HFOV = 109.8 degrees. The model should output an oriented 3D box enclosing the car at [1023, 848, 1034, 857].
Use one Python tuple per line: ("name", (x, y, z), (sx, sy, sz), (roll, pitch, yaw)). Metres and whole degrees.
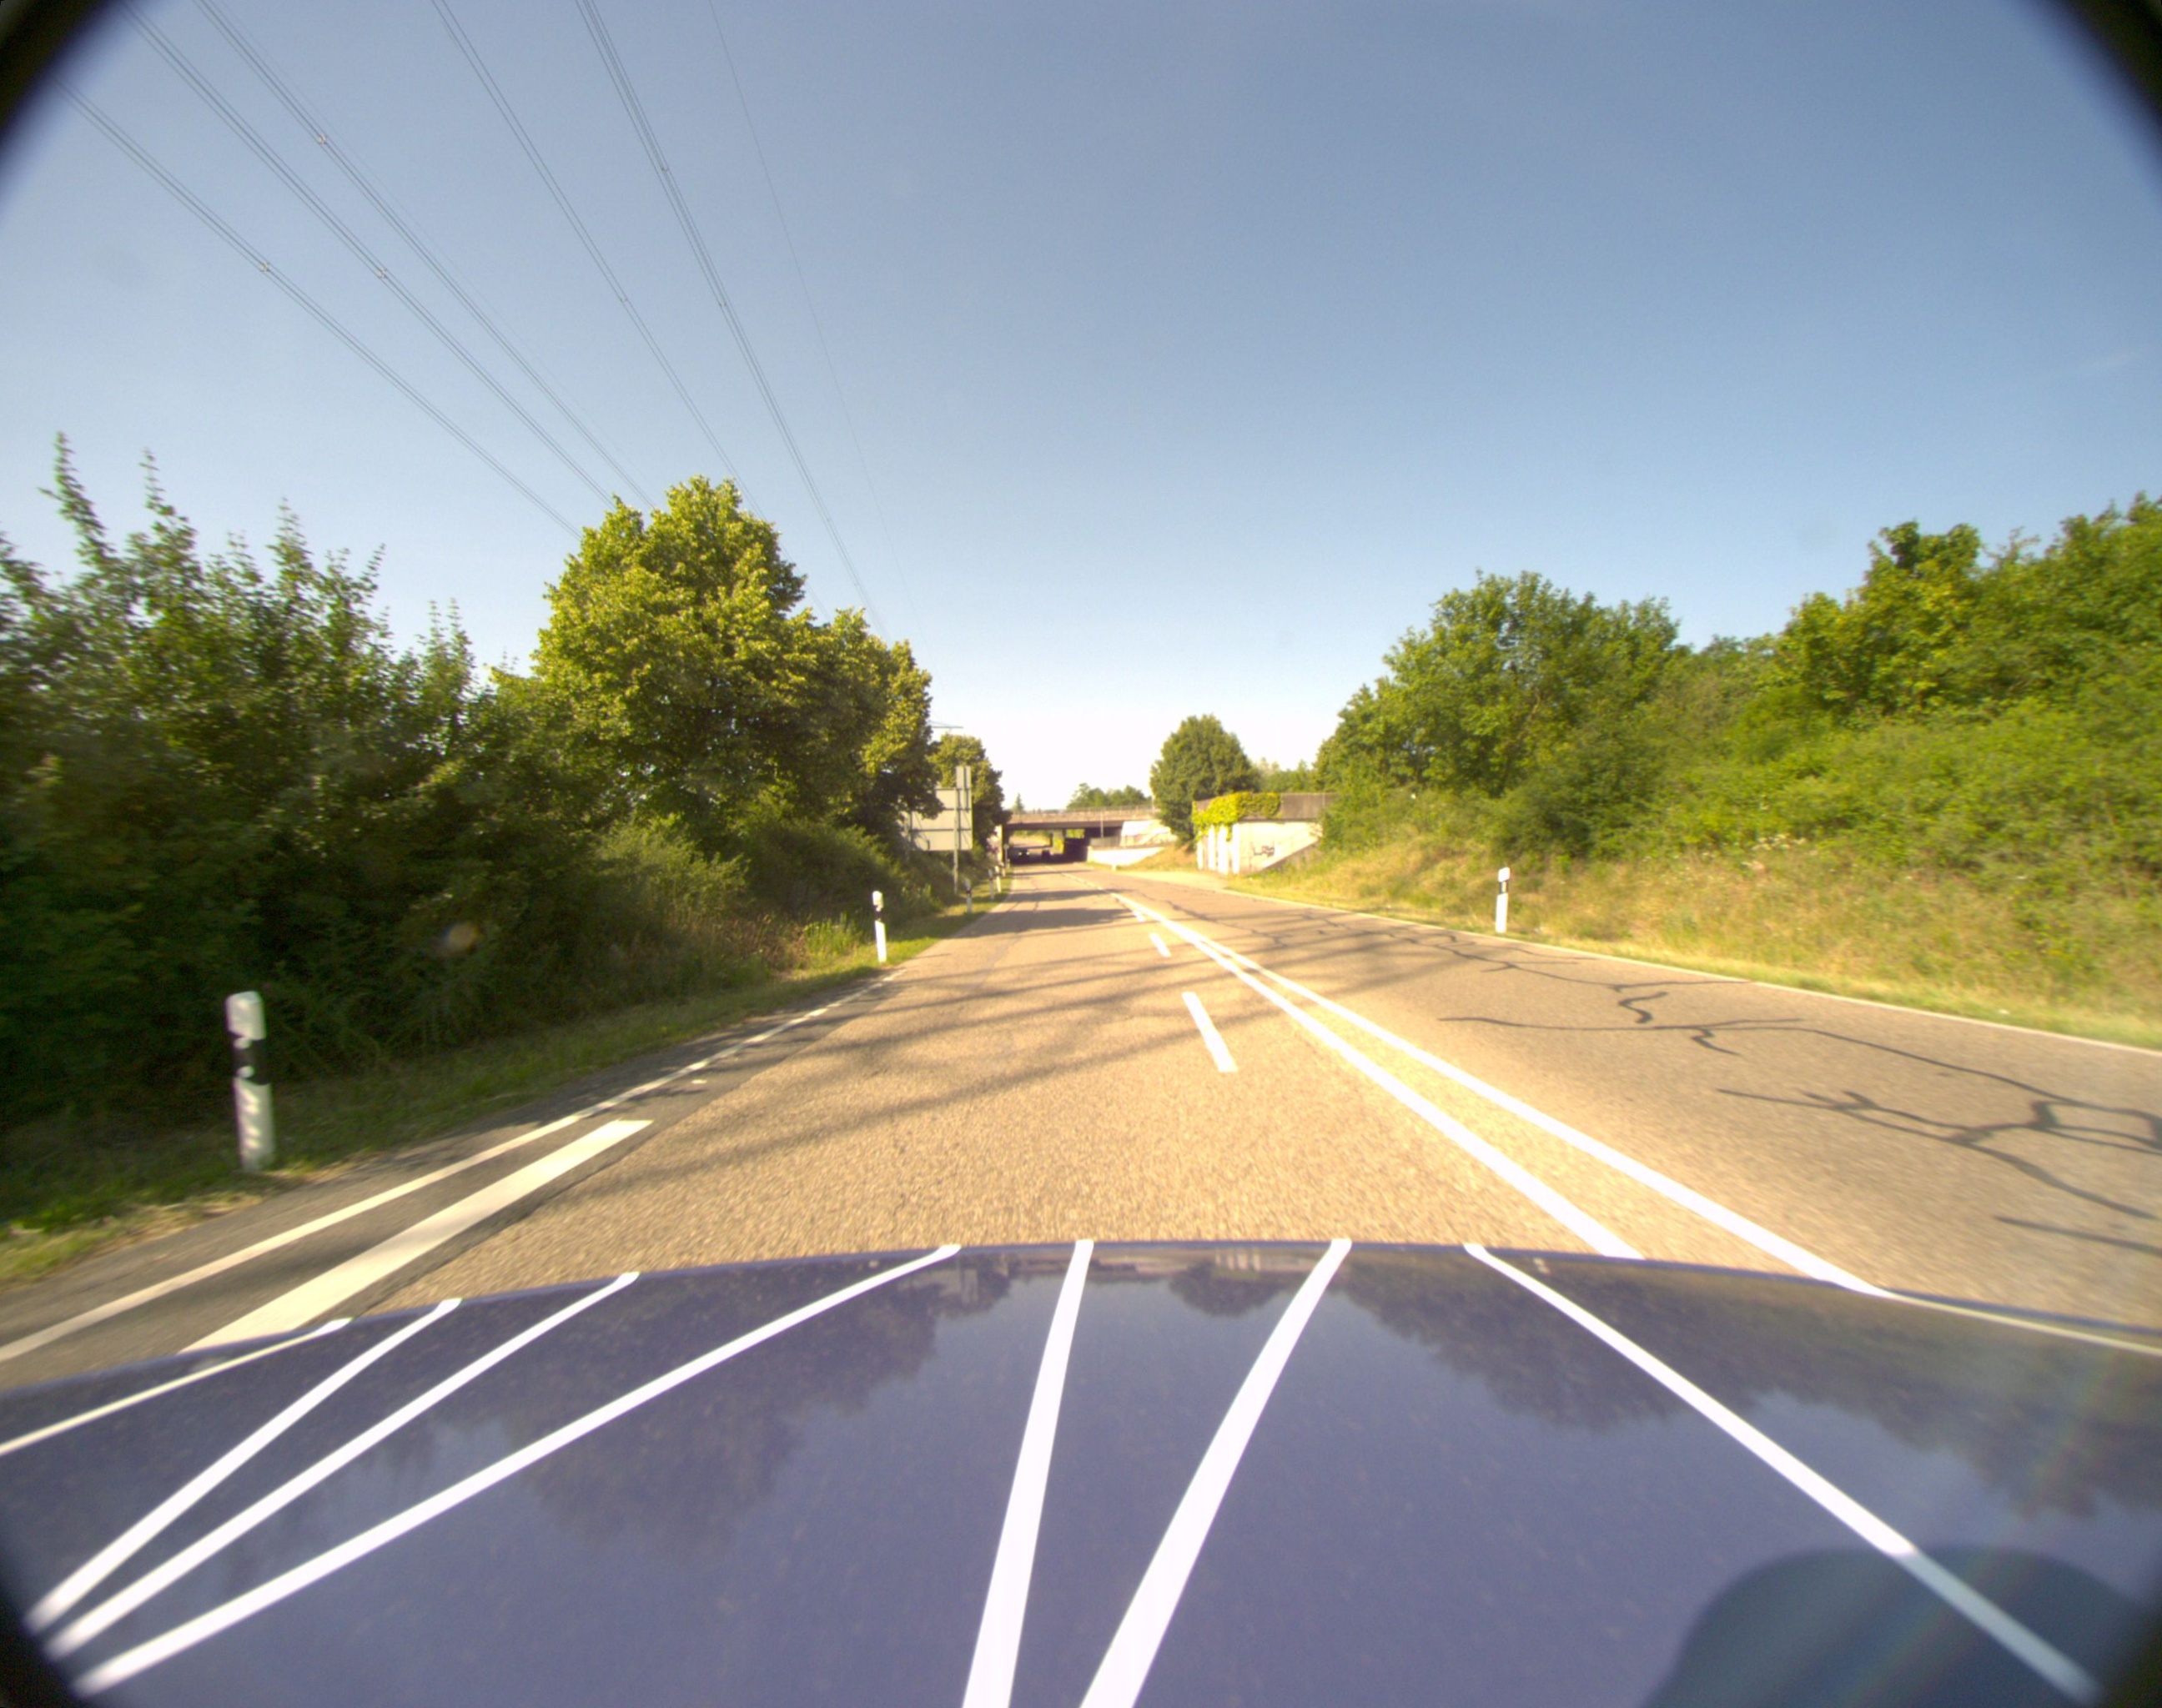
("car", (-9.828, -0.199, 141.268), (1.860, 1.609, 3.645), (-2, 0, -5))
